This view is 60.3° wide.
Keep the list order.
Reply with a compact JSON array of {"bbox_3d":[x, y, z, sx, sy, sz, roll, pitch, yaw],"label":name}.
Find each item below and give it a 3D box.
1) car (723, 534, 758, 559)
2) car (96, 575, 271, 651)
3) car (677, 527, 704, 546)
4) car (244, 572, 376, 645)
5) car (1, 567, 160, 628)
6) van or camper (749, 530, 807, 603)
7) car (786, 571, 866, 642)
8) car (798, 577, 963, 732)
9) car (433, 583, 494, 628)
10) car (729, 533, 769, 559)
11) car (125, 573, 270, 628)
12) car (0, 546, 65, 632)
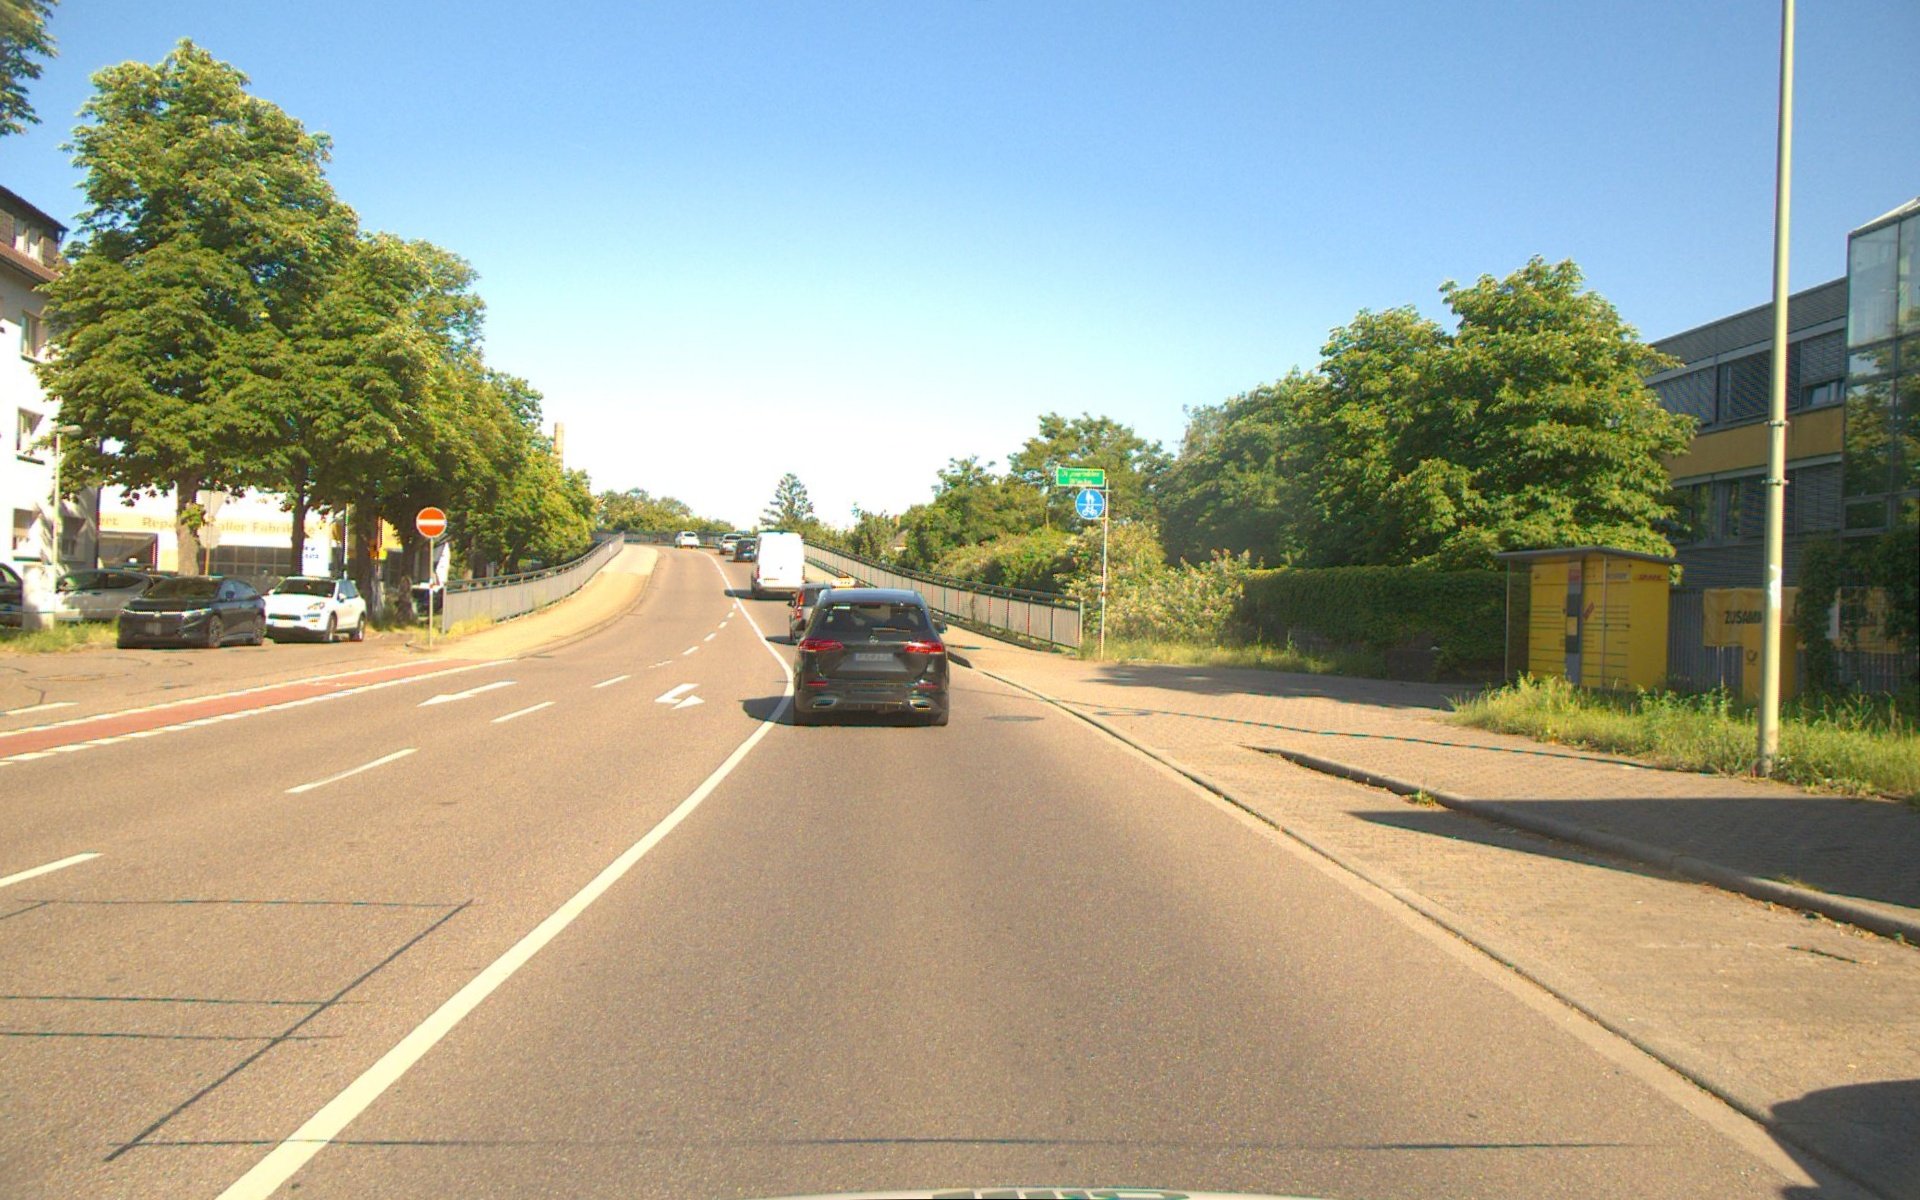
[{"bbox_3d":[-16.486,-4.022,124.369,1.952,1.709,4.000,0,0,1],"label":"car"},{"bbox_3d":[-16.708,0.251,35.875,1.999,1.489,4.953,2,0,-8],"label":"car"},{"bbox_3d":[-24.678,-5.772,151.149,1.848,1.570,3.980,2,1,-18],"label":"car"},{"bbox_3d":[-17.244,0.211,44.130,1.999,1.759,5.228,2,0,-8],"label":"car"},{"bbox_3d":[-23.909,-0.054,44.973,3.626,1.536,1.763,2,1,-35],"label":"car"},{"bbox_3d":[-7.541,-1.369,68.687,2.183,2.787,7.071,2,1,-6],"label":"van or camper"},{"bbox_3d":[-3.481,0.181,42.357,1.771,1.669,3.992,2,-1,-8],"label":"car"},{"bbox_3d":[-0.998,0.596,19.842,1.735,1.620,3.985,2,0,-4],"label":"car"},{"bbox_3d":[-23.640,0.247,78.845,1.886,2.026,4.253,2,1,-5],"label":"car"},{"bbox_3d":[-13.757,-3.486,108.057,1.878,1.514,4.271,0,-1,2],"label":"car"},{"bbox_3d":[-24.588,0.019,53.459,3.933,1.611,1.891,2,0,-15],"label":"car"},{"bbox_3d":[-23.037,-0.293,38.741,2.031,1.964,4.778,2,0,-8],"label":"car"}]
